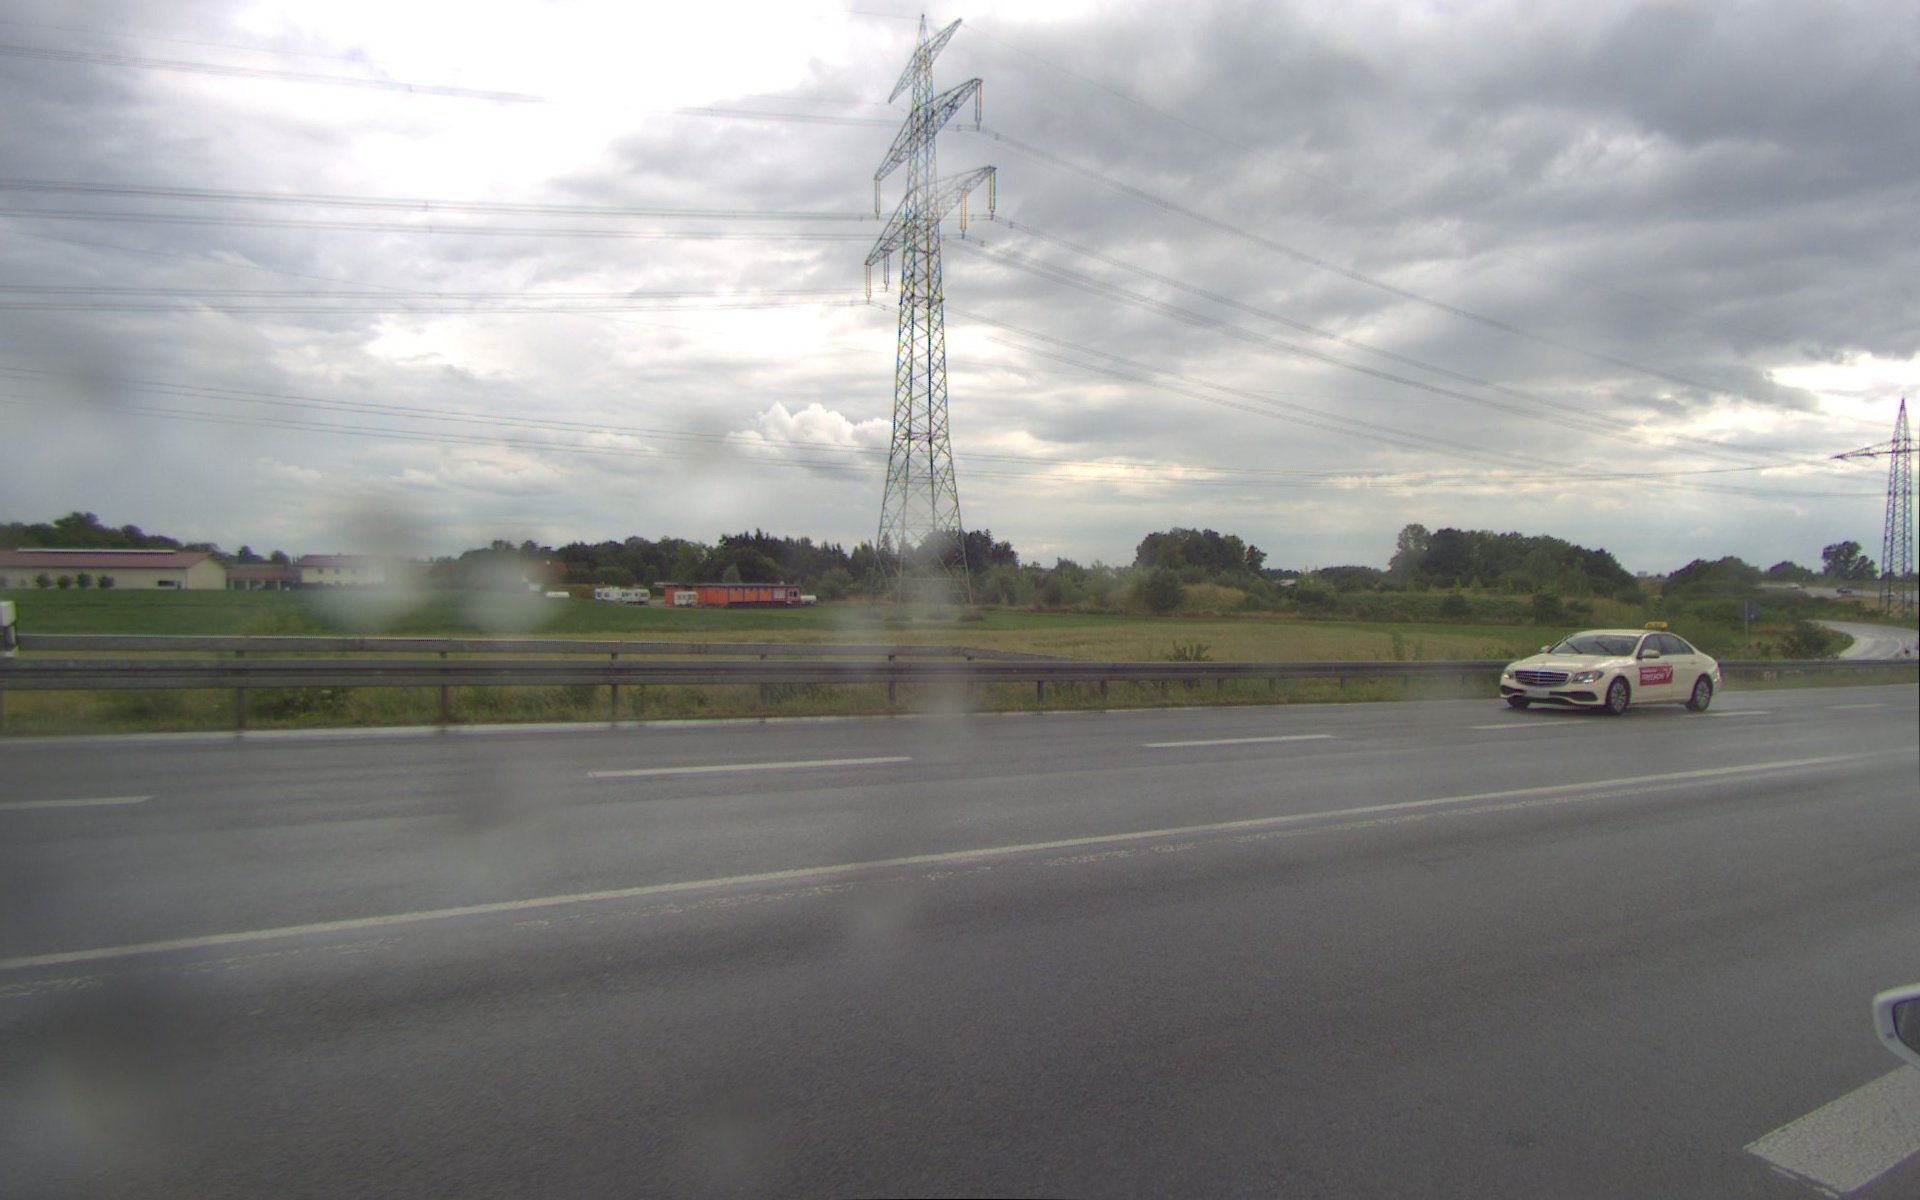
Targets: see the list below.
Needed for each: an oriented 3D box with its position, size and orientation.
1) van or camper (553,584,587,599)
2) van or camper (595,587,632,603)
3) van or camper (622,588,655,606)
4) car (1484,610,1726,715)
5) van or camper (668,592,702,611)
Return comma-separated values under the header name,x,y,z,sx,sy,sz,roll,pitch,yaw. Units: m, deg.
name,x,y,z,sx,sy,sz,roll,pitch,yaw
van or camper,-75.194,-1.672,193.678,2.297,2.667,5.682,4,2,44
van or camper,-61.795,-0.953,179.176,2.297,2.667,5.682,4,2,44
van or camper,-53.956,-0.519,168.570,5.626,2.667,2.319,4,2,37
car,11.871,1.075,18.417,4.593,1.682,1.933,1,0,-32
van or camper,-43.369,0.182,158.385,5.626,2.667,2.319,4,2,37
